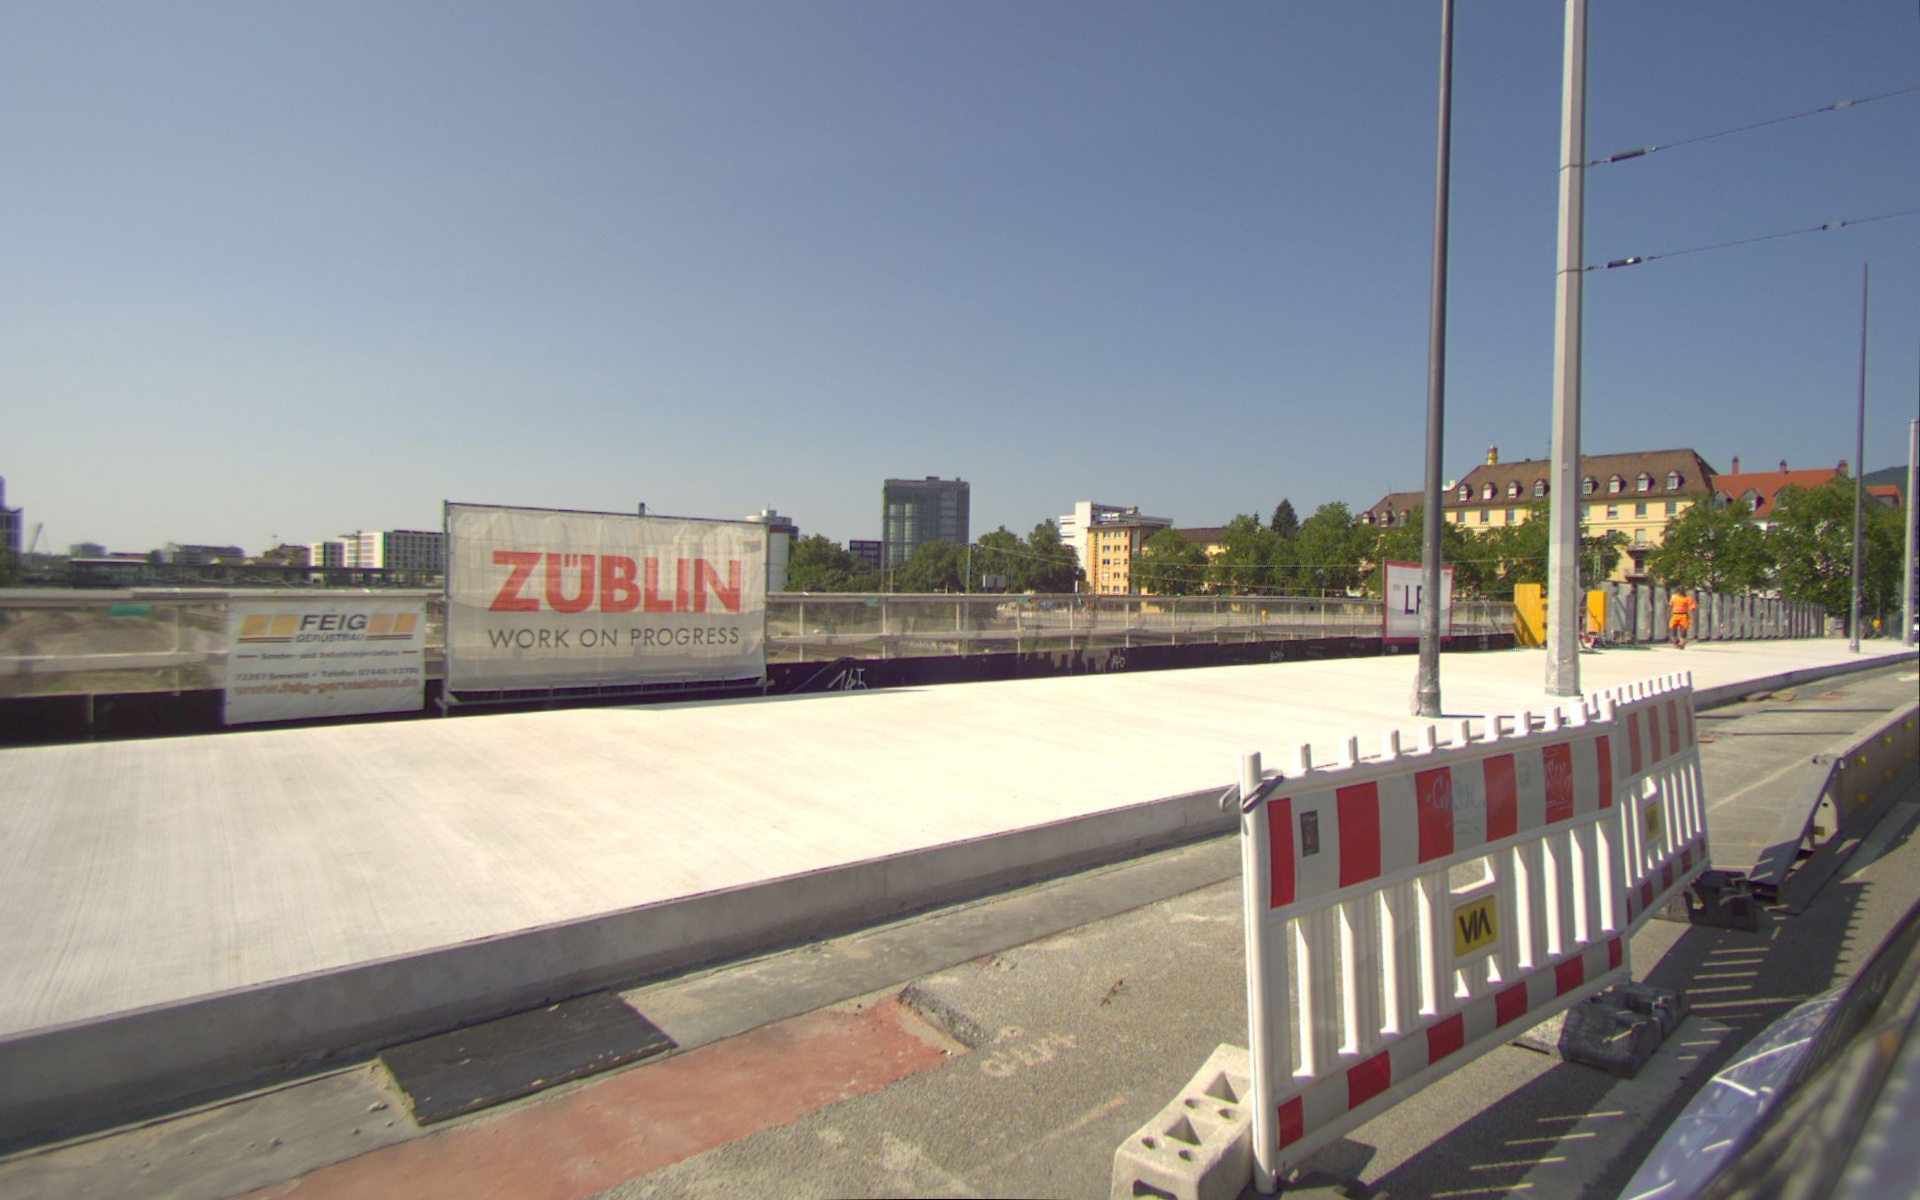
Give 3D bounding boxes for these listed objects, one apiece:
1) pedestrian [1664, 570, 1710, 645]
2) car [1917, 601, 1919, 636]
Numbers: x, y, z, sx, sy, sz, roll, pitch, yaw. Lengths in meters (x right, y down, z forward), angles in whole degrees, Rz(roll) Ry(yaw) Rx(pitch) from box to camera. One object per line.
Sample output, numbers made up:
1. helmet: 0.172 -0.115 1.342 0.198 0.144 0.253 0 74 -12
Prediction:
1. pedestrian: 19.680 0.195 27.400 0.999 1.989 0.732 1 1 -42
2. car: 61.394 1.247 63.006 6.355 2.117 1.937 2 -1 -41
